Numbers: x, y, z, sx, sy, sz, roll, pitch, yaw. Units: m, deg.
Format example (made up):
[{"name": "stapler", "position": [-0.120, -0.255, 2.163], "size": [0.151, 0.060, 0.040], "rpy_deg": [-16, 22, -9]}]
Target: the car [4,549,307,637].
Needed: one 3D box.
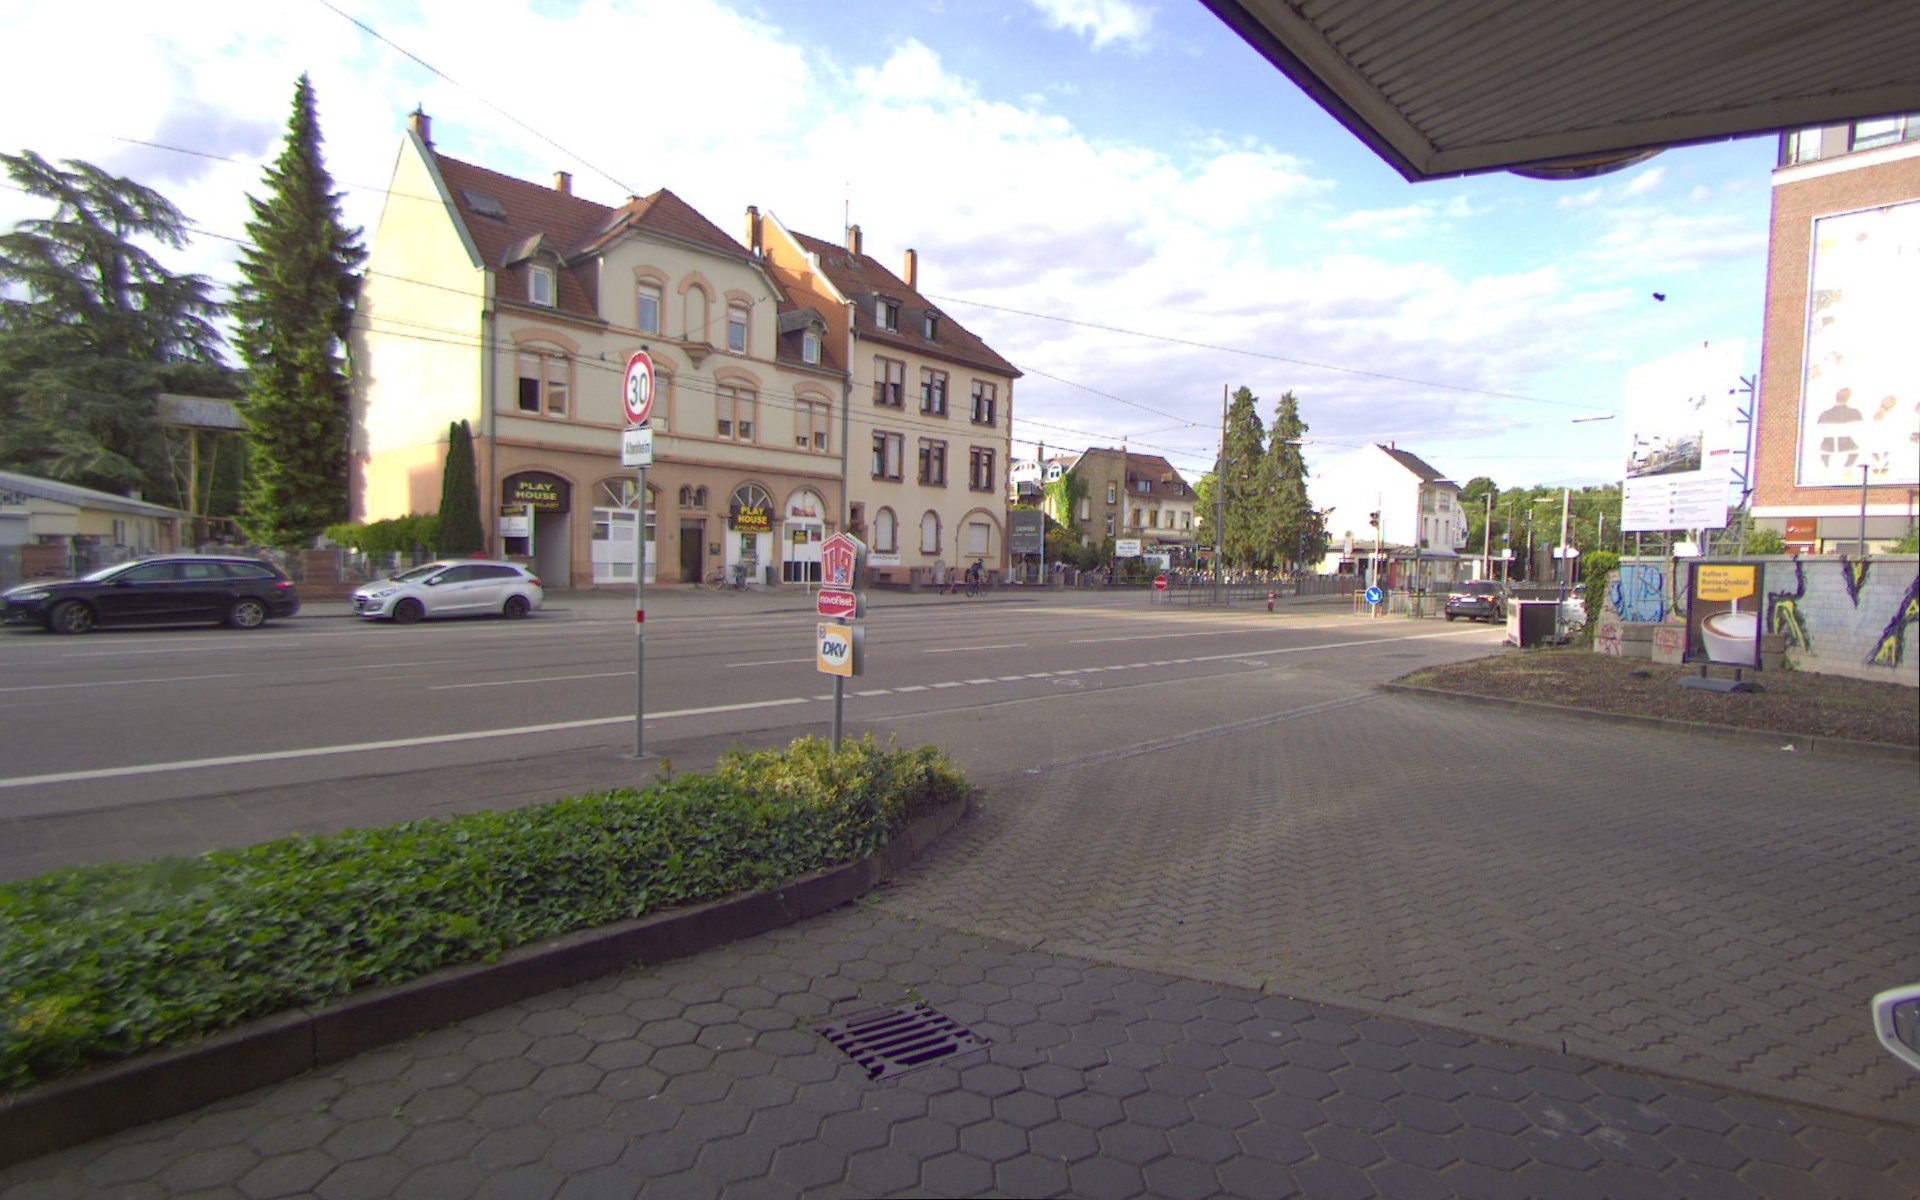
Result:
[{"name": "car", "position": [-16.493, -0.169, 20.813], "size": [1.827, 1.542, 4.642], "rpy_deg": [5, 4, 40]}]

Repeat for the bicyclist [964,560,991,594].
[{"name": "bicyclist", "position": [0.784, -1.044, 45.019], "size": [0.740, 1.428, 0.917], "rpy_deg": [7, 6, 38]}]

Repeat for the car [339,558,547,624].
[{"name": "car", "position": [-12.935, -0.245, 25.351], "size": [1.718, 1.502, 4.357], "rpy_deg": [3, 2, 41]}]

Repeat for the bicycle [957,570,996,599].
[{"name": "bicycle", "position": [0.751, -0.717, 45.013], "size": [0.740, 1.219, 1.813], "rpy_deg": [7, 6, 38]}]

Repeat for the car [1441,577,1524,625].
[{"name": "car", "position": [18.971, 0.012, 36.419], "size": [1.649, 1.568, 3.687], "rpy_deg": [5, 4, 43]}]

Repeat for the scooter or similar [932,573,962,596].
[{"name": "scooter or similar", "position": [-0.572, -0.706, 45.088], "size": [0.437, 1.006, 1.460], "rpy_deg": [6, 5, 41]}]

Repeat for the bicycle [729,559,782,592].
[{"name": "bicycle", "position": [-8.254, -0.994, 40.623], "size": [0.741, 1.219, 2.011], "rpy_deg": [8, 5, 41]}]
